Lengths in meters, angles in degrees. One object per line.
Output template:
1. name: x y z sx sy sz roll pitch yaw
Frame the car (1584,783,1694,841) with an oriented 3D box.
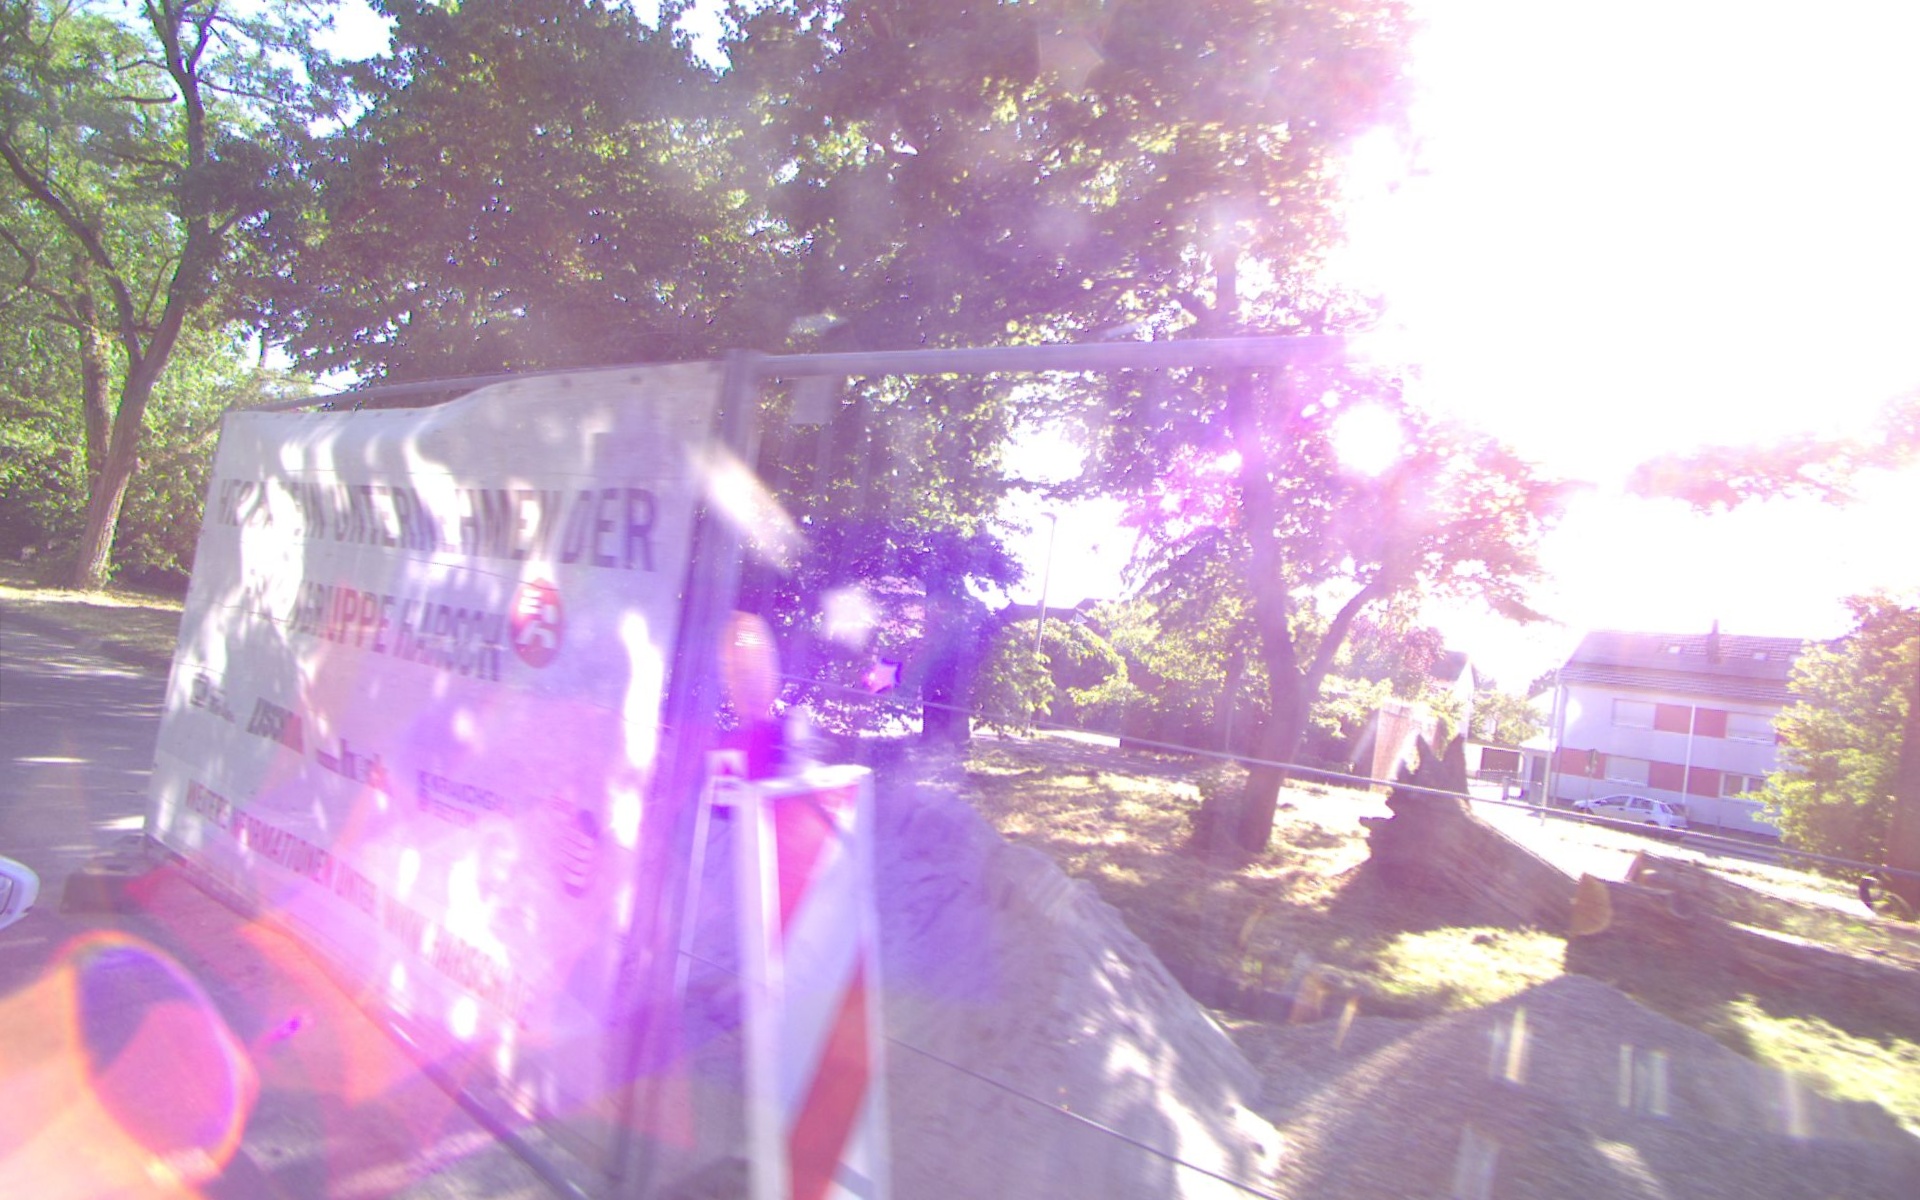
1. car: 26.732 8.348 39.692 1.516 1.568 3.159 11 -4 -31

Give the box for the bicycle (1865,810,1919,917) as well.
1. bicycle: 12.063 3.269 11.914 1.799 1.162 0.678 7 -3 30
